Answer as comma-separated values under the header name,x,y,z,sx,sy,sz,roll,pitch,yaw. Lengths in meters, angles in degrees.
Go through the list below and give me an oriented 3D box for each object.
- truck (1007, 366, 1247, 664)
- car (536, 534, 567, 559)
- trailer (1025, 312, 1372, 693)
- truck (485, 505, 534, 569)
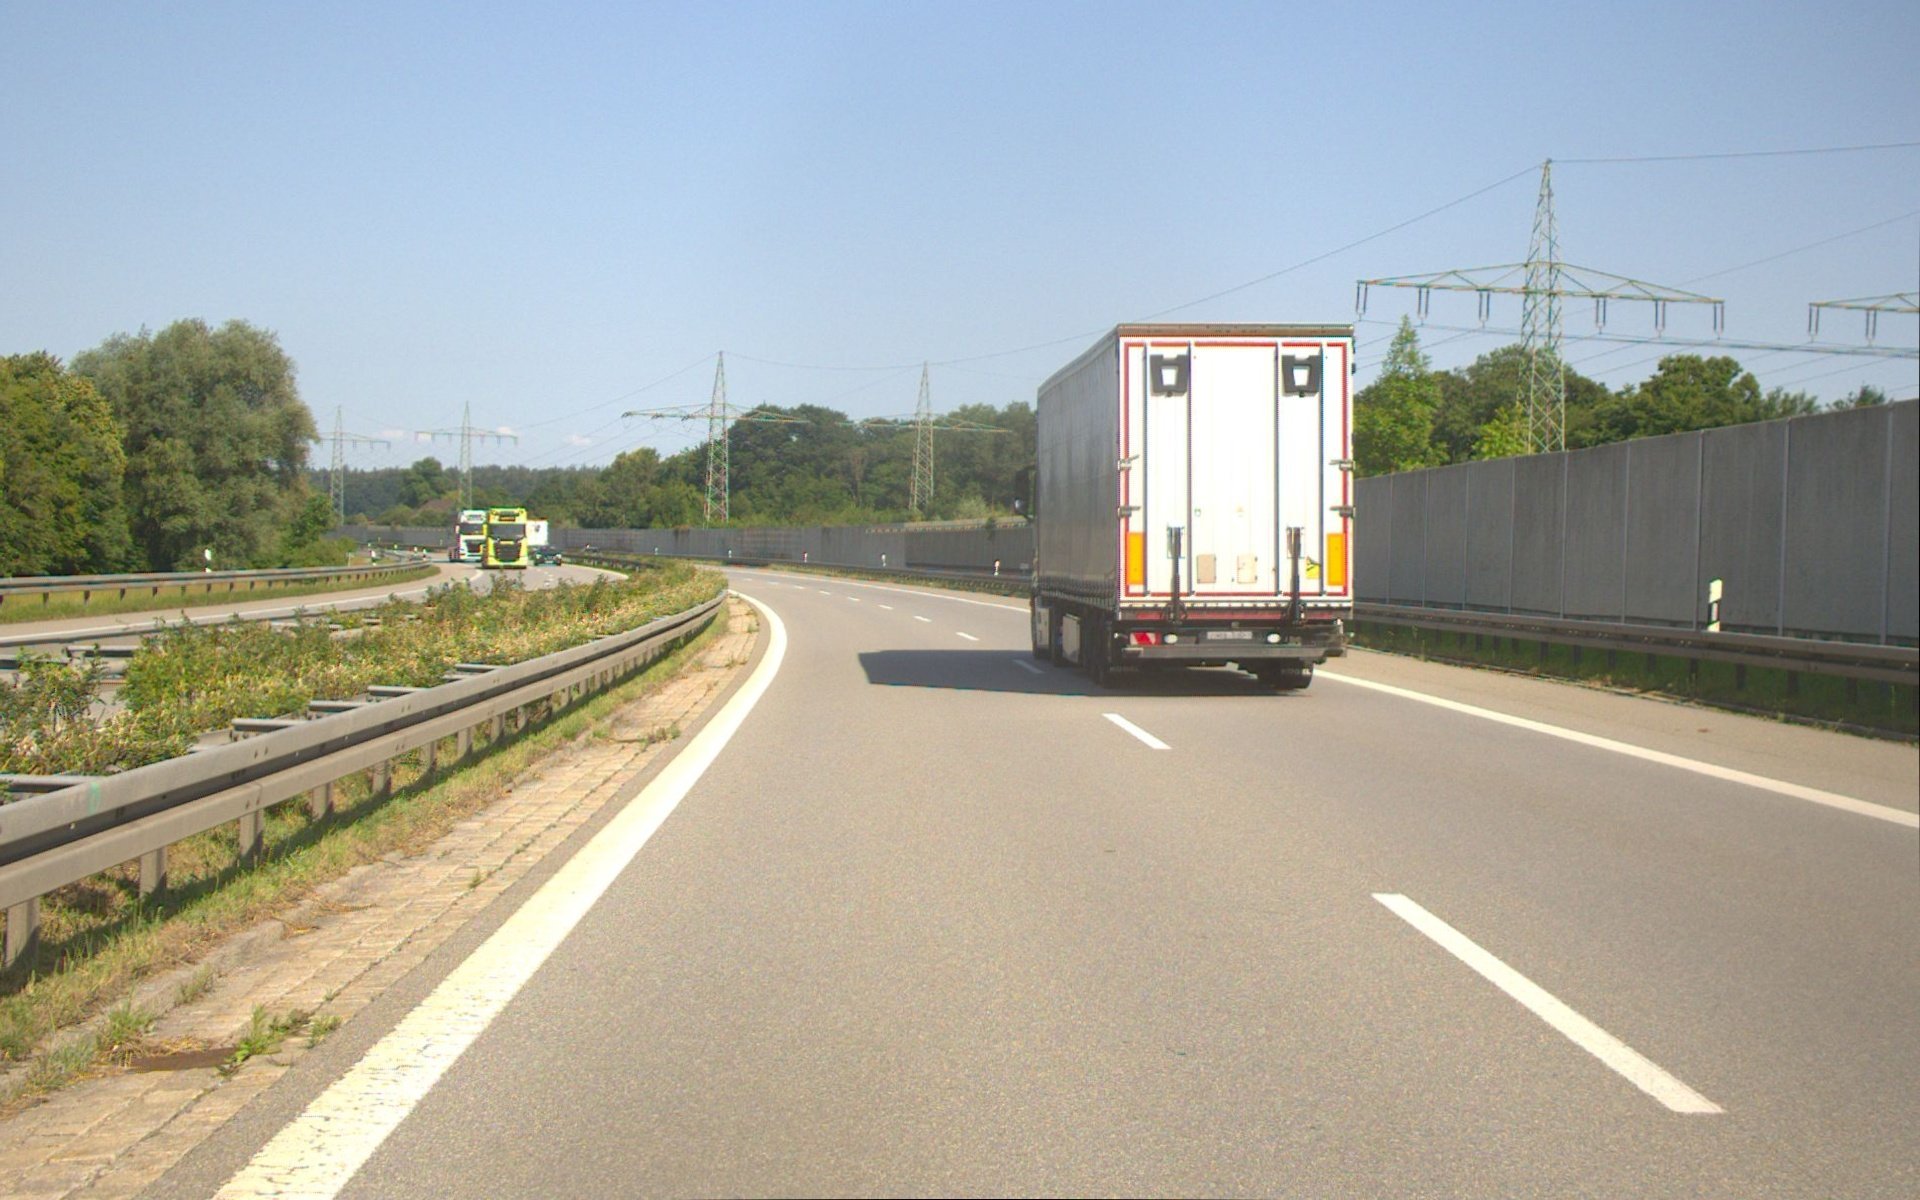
name,x,y,z,sx,sy,sz,roll,pitch,yaw
truck,2.299,-1.184,49.645,2.830,3.998,6.588,0,1,-3
car,-28.729,-3.757,241.574,1.993,1.665,4.001,0,1,-9
trailer,2.660,-1.115,42.853,2.884,4.052,12.421,0,1,-3
truck,-28.340,-3.939,216.105,2.758,3.894,8.773,-1,1,-9
